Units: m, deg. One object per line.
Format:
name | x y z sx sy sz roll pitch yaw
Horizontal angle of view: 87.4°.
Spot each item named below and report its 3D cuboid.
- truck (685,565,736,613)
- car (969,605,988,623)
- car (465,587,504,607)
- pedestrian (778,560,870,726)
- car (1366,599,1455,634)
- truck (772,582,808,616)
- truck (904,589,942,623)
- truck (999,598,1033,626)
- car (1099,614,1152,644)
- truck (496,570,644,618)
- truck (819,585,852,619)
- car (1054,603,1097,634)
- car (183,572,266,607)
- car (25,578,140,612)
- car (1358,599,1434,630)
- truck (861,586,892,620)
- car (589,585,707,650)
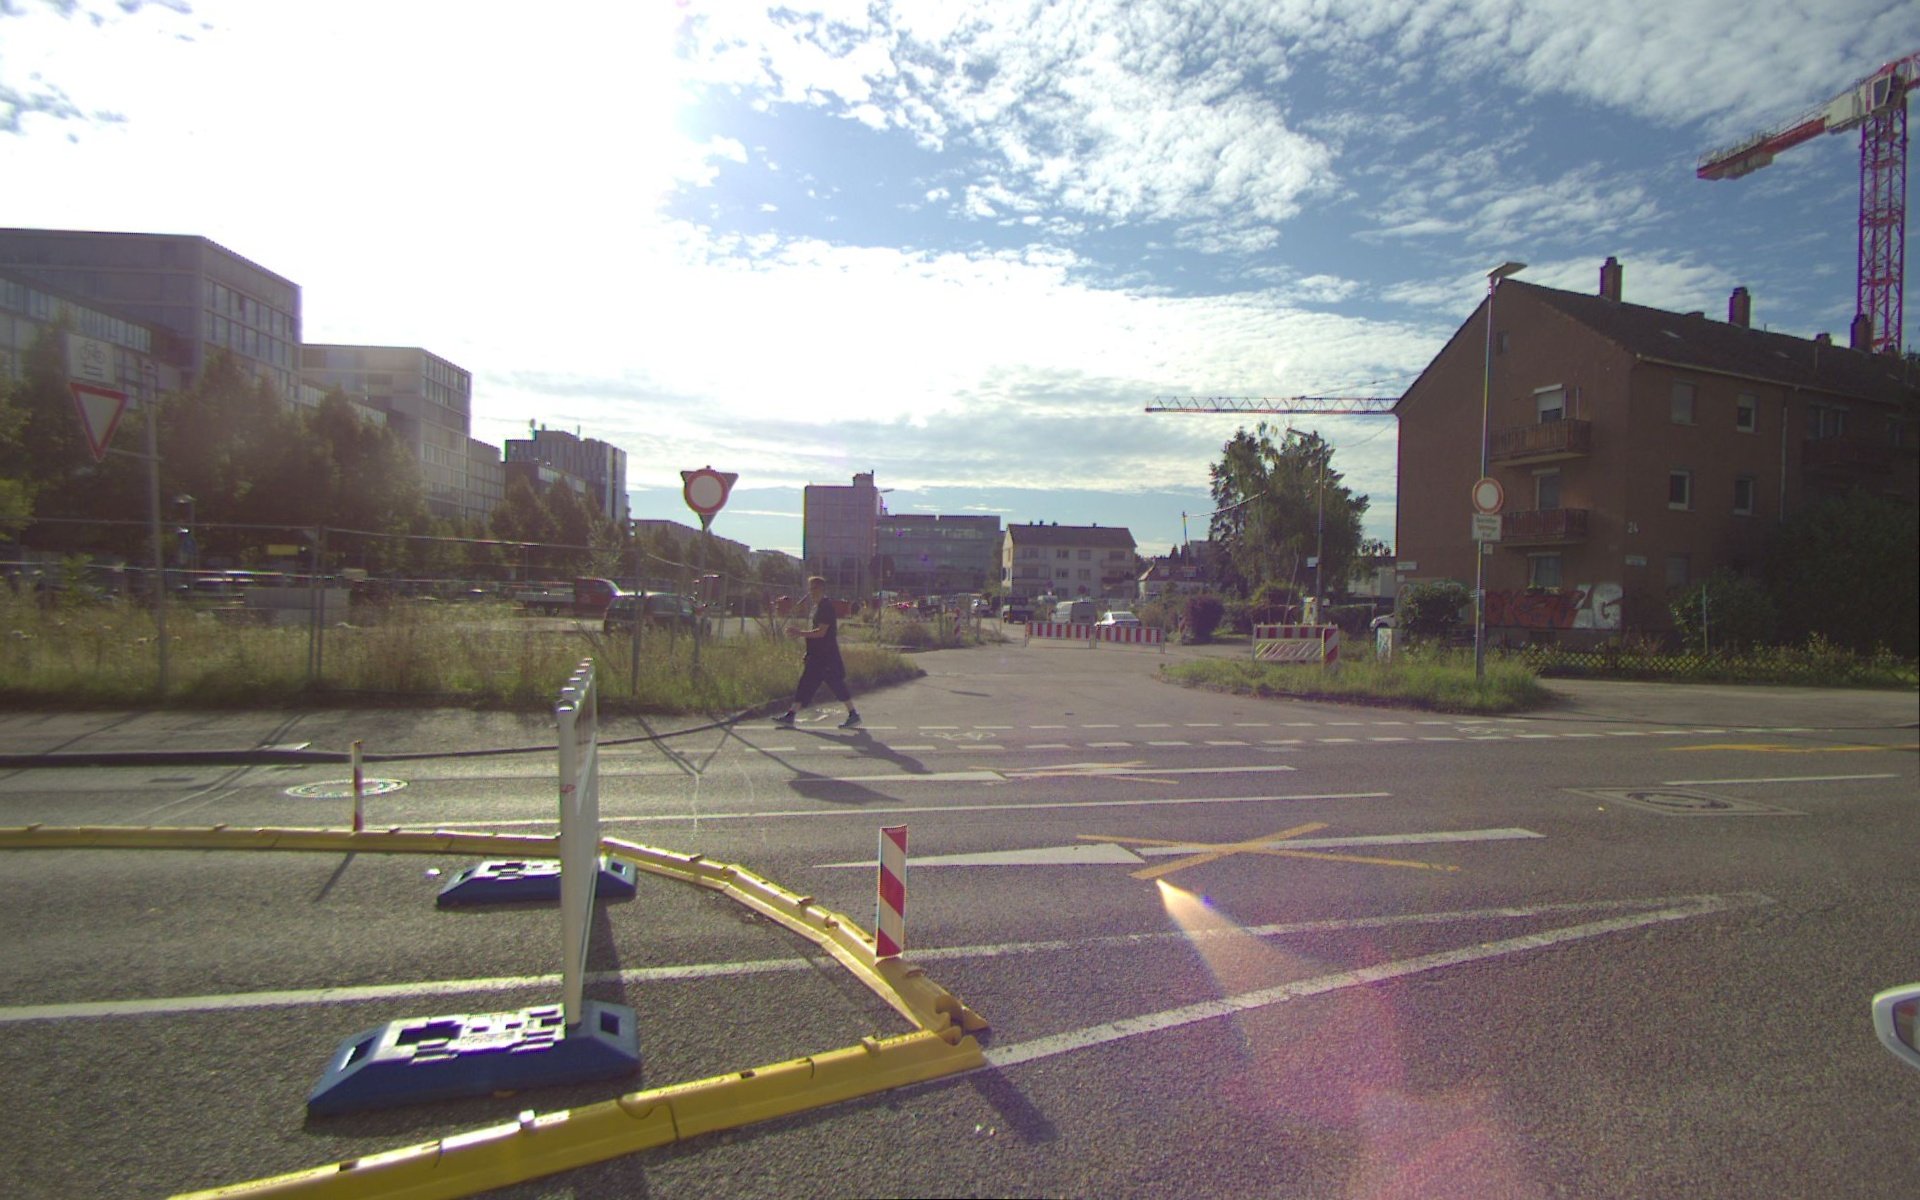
truck | -18.162 -0.805 73.493 2.765 3.250 7.306 2 0 -8
car | 2.120 1.578 114.375 1.960 1.884 4.001 1 0 2
car | -48.362 -0.340 102.318 1.865 1.928 4.659 2 0 -2
pedestrian | -1.626 0.497 11.989 0.828 1.896 0.662 1 0 -39
car | 23.372 0.849 52.114 3.933 1.639 1.768 2 0 34
truck | -12.566 -0.084 74.514 2.292 2.359 6.444 2 0 -8
truck | -2.831 0.441 75.354 2.251 2.359 5.631 2 0 -8
truck | 4.685 0.965 85.012 1.944 2.200 5.400 1 0 -6
car | 8.651 1.510 52.863 1.689 1.411 3.996 1 0 -6
truck | -23.382 -0.375 60.595 7.710 2.601 3.072 2 0 -5
truck | -9.336 0.134 75.159 2.292 2.359 6.444 2 0 -8
car | 7.316 1.134 64.029 1.850 1.840 3.996 1 0 -6
car | -43.682 -0.652 59.767 1.866 1.928 4.656 2 1 -6
car | -45.966 -0.222 52.780 1.962 1.587 4.842 3 0 -4
car | 25.017 0.810 57.749 3.923 1.639 1.772 2 0 24
truck | -6.318 0.199 75.442 2.025 2.359 5.631 2 0 -8
car | -9.543 0.509 31.097 1.847 1.840 4.002 1 0 9
